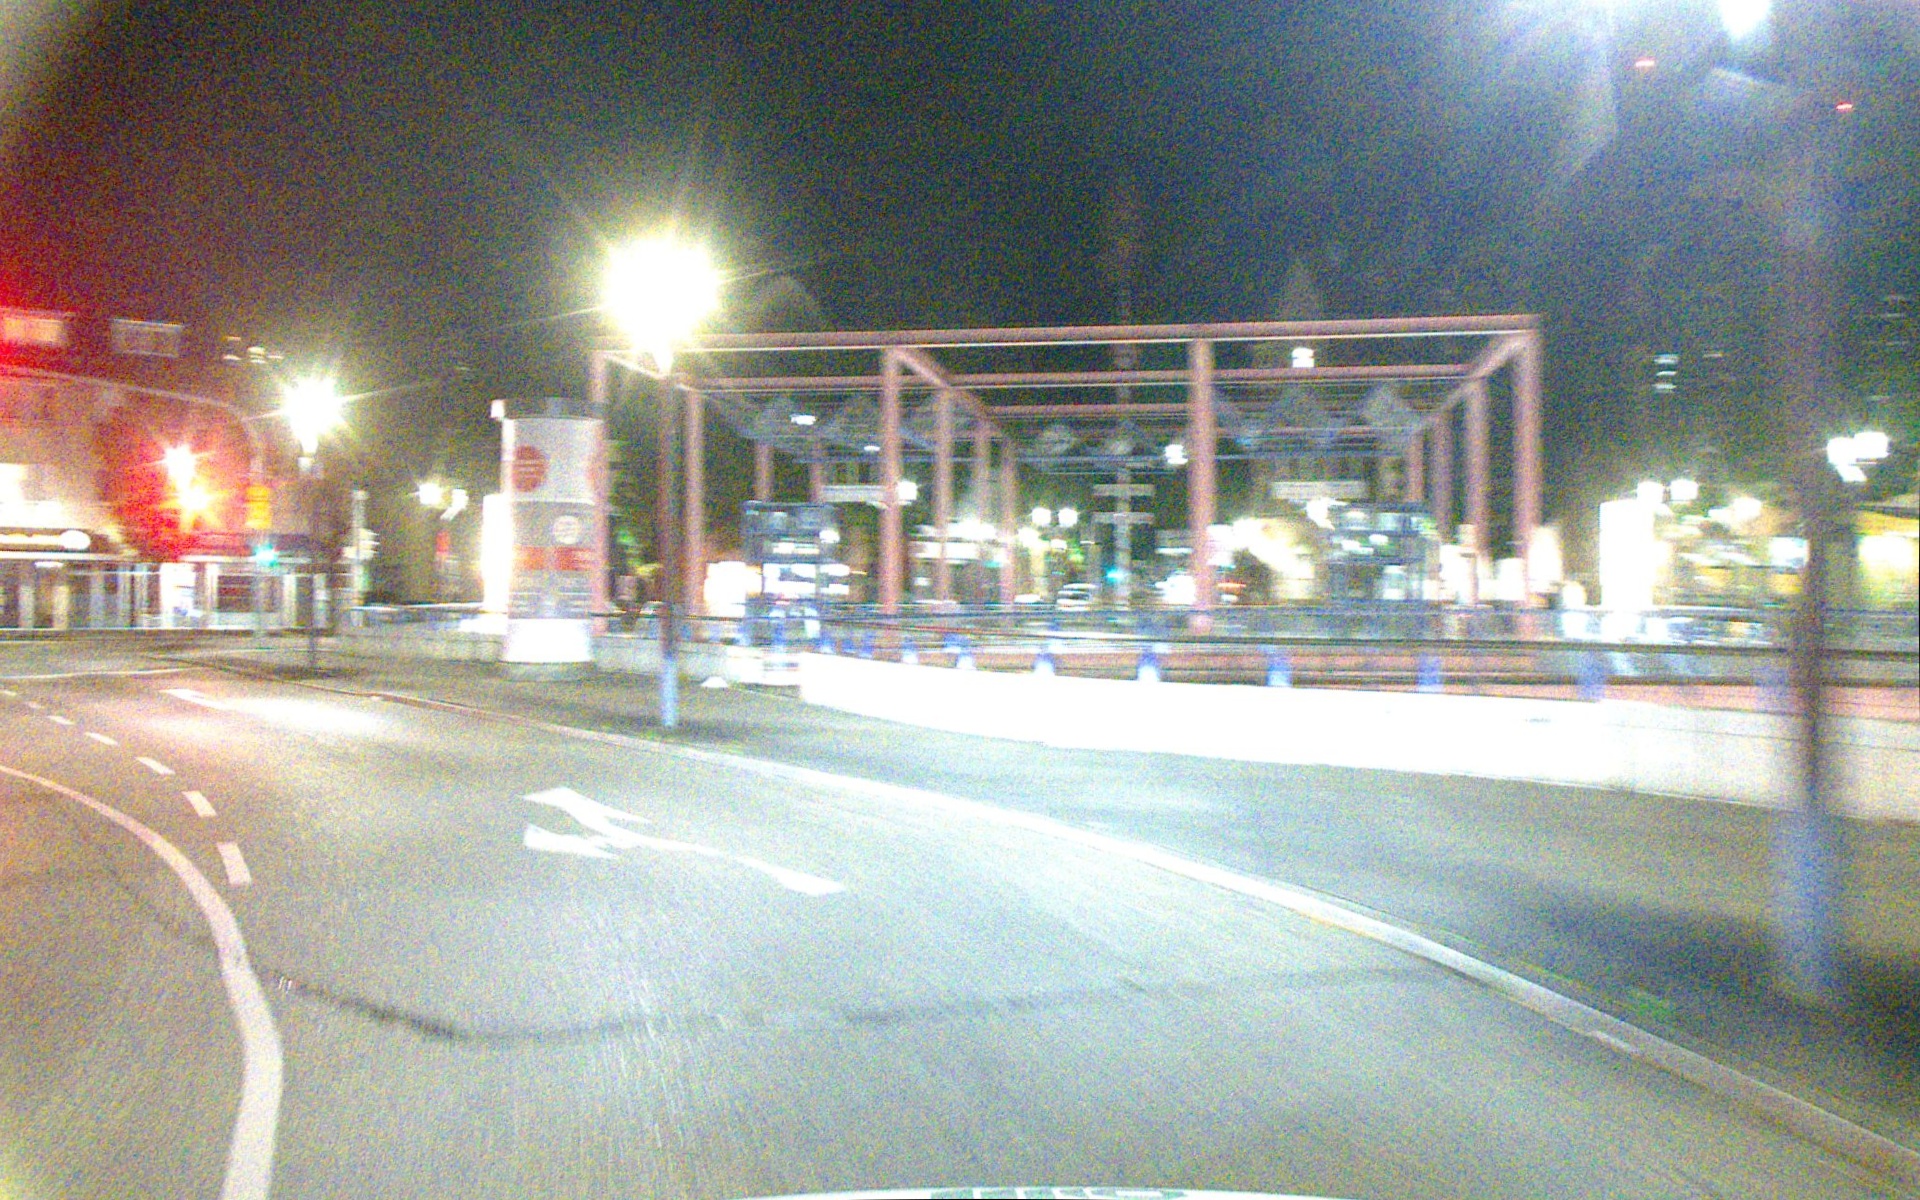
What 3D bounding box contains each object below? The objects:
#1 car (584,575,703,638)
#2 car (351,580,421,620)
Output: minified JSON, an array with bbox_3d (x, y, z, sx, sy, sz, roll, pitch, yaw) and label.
[{"bbox_3d":[-8.470,0.148,44.674,1.951,1.601,4.332,0,1,6],"label":"car"},{"bbox_3d":[-23.683,-0.017,68.136,1.975,1.601,3.614,0,1,-32],"label":"car"}]
